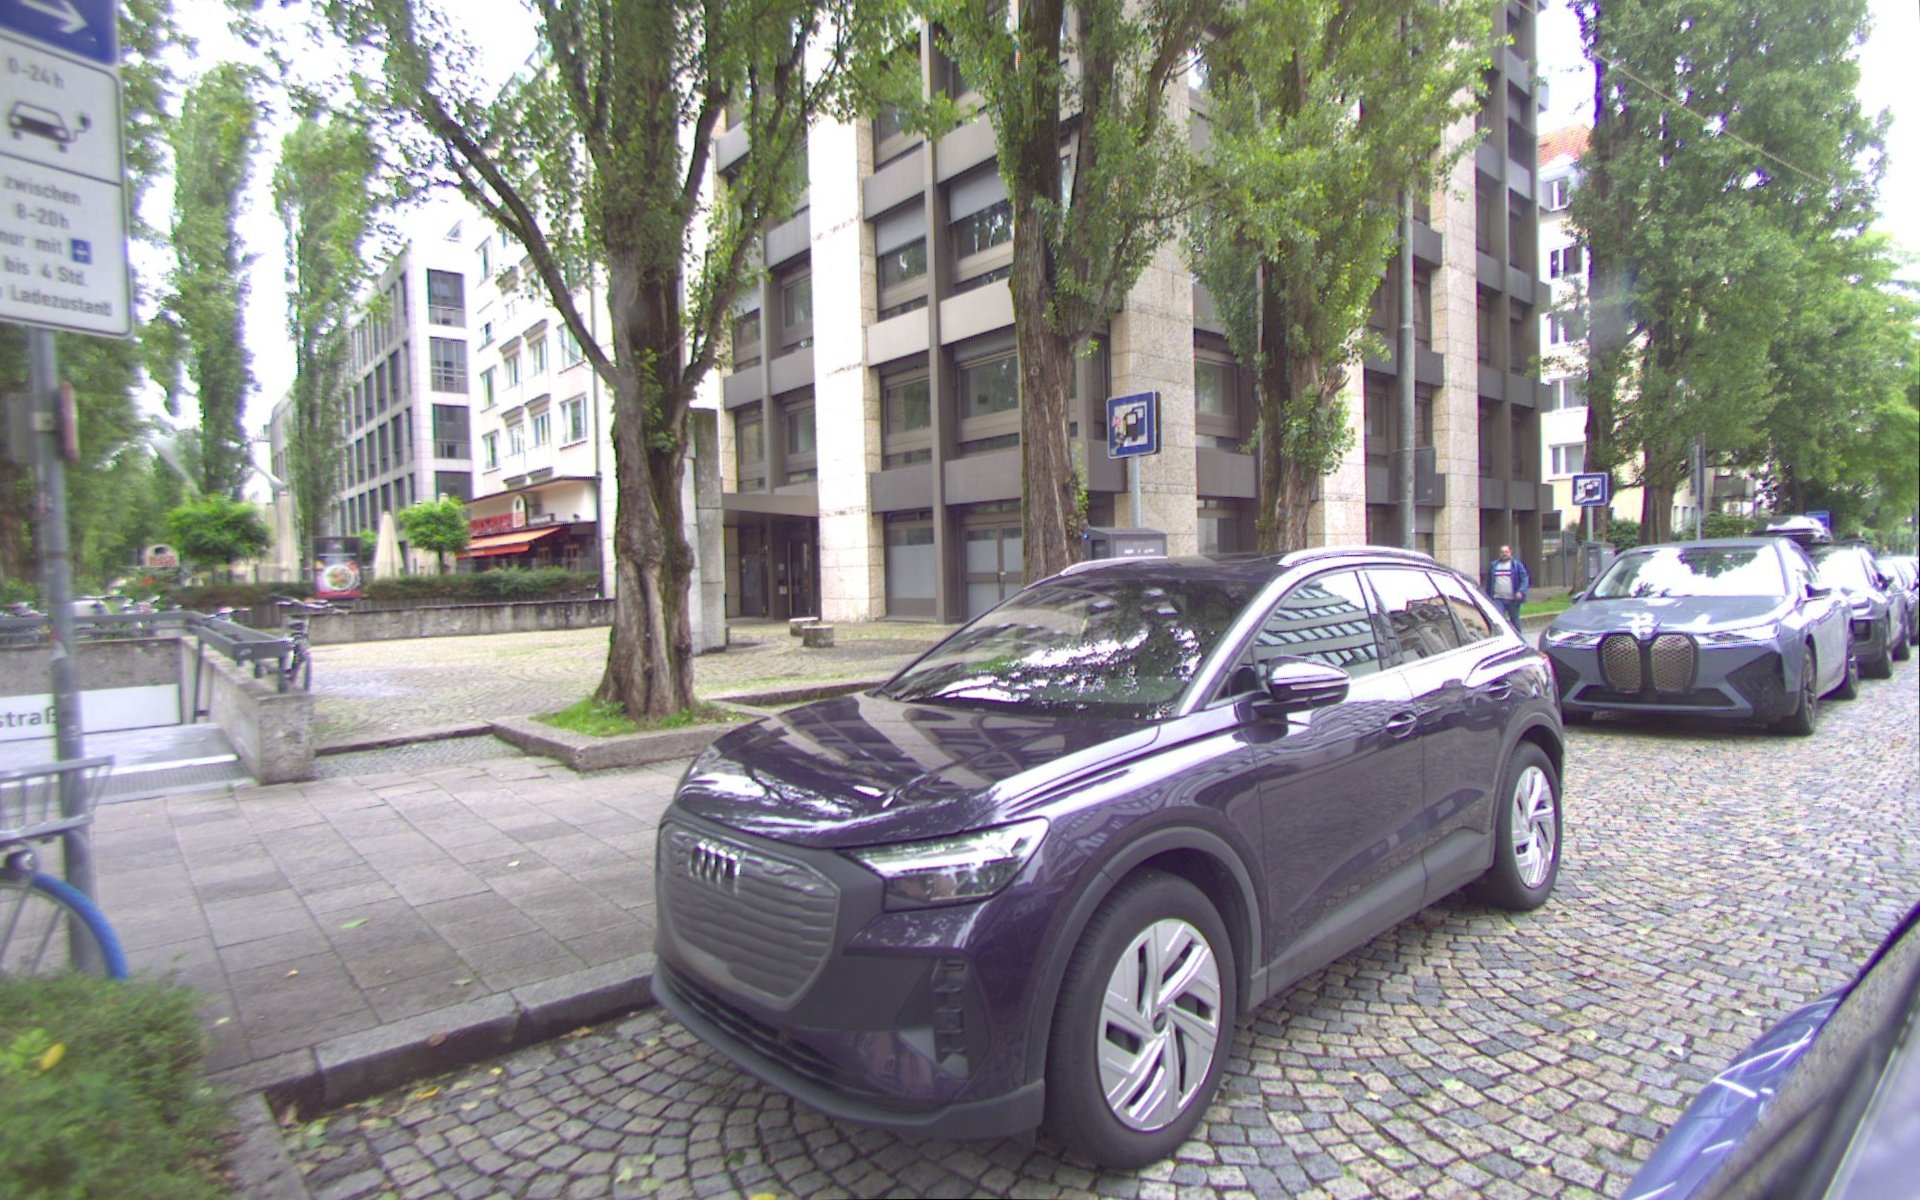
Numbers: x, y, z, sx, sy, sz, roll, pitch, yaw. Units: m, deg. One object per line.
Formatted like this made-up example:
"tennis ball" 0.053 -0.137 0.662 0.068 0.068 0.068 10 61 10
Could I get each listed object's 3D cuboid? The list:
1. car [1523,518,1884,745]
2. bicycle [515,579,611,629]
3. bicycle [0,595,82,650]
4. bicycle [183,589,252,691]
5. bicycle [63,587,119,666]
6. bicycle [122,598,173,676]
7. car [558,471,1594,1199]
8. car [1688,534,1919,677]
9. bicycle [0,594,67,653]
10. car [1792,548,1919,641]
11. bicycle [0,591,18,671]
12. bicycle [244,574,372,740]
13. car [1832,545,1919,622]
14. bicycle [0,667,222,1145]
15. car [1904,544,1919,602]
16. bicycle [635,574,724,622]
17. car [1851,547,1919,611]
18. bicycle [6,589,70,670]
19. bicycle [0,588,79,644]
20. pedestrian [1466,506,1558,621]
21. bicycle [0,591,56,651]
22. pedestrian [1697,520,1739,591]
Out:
"car" 7.474 0.136 9.970 4.596 1.721 2.015 -4 2 -43
"bicycle" -10.303 0.079 26.301 2.207 1.169 0.647 -3 2 -41
"bicycle" -21.226 0.500 23.021 1.836 1.174 0.587 -3 2 -39
"bicycle" -9.387 0.461 12.768 0.577 1.174 1.867 -3 2 -39
"bicycle" -13.919 0.395 16.240 0.577 1.174 1.867 -3 2 -39
"bicycle" -13.241 0.572 16.492 0.577 1.174 1.867 -3 2 -39
"car" 0.829 0.517 4.110 4.132 1.721 1.922 -4 2 -43
"car" 11.553 -0.028 13.636 4.270 1.602 1.996 -3 2 -43
"bicycle" -19.866 0.502 20.953 1.996 1.174 0.587 -3 2 -39
"car" 16.172 -0.144 17.860 4.136 1.407 1.720 -4 0 -43
"bicycle" -14.855 0.457 15.409 0.577 1.174 1.867 -3 2 -39
"bicycle" -5.790 0.443 8.941 0.709 1.292 1.867 -3 2 -39
"car" 19.462 -0.378 20.995 3.502 1.448 1.602 -3 0 -42
"bicycle" -3.001 0.828 2.490 1.840 1.150 0.476 -3 2 -32
"car" 27.149 -0.808 27.576 3.811 1.517 1.864 -4 1 -44
"bicycle" -7.489 -0.083 27.073 2.207 1.169 0.647 -3 2 -41
"car" 22.986 -0.550 24.261 3.809 1.405 1.996 -4 1 -42
"bicycle" -14.386 0.424 15.821 0.577 1.174 1.867 -3 2 -39
"bicycle" -20.866 0.355 22.509 1.836 1.174 0.587 -3 2 -39
"pedestrian" 8.651 -0.576 15.870 0.893 1.735 0.871 -2 2 -21
"bicycle" -19.536 0.438 20.425 1.836 1.174 0.587 -3 2 -39
"pedestrian" 16.967 -0.998 22.648 0.698 1.556 0.644 -3 2 -44
